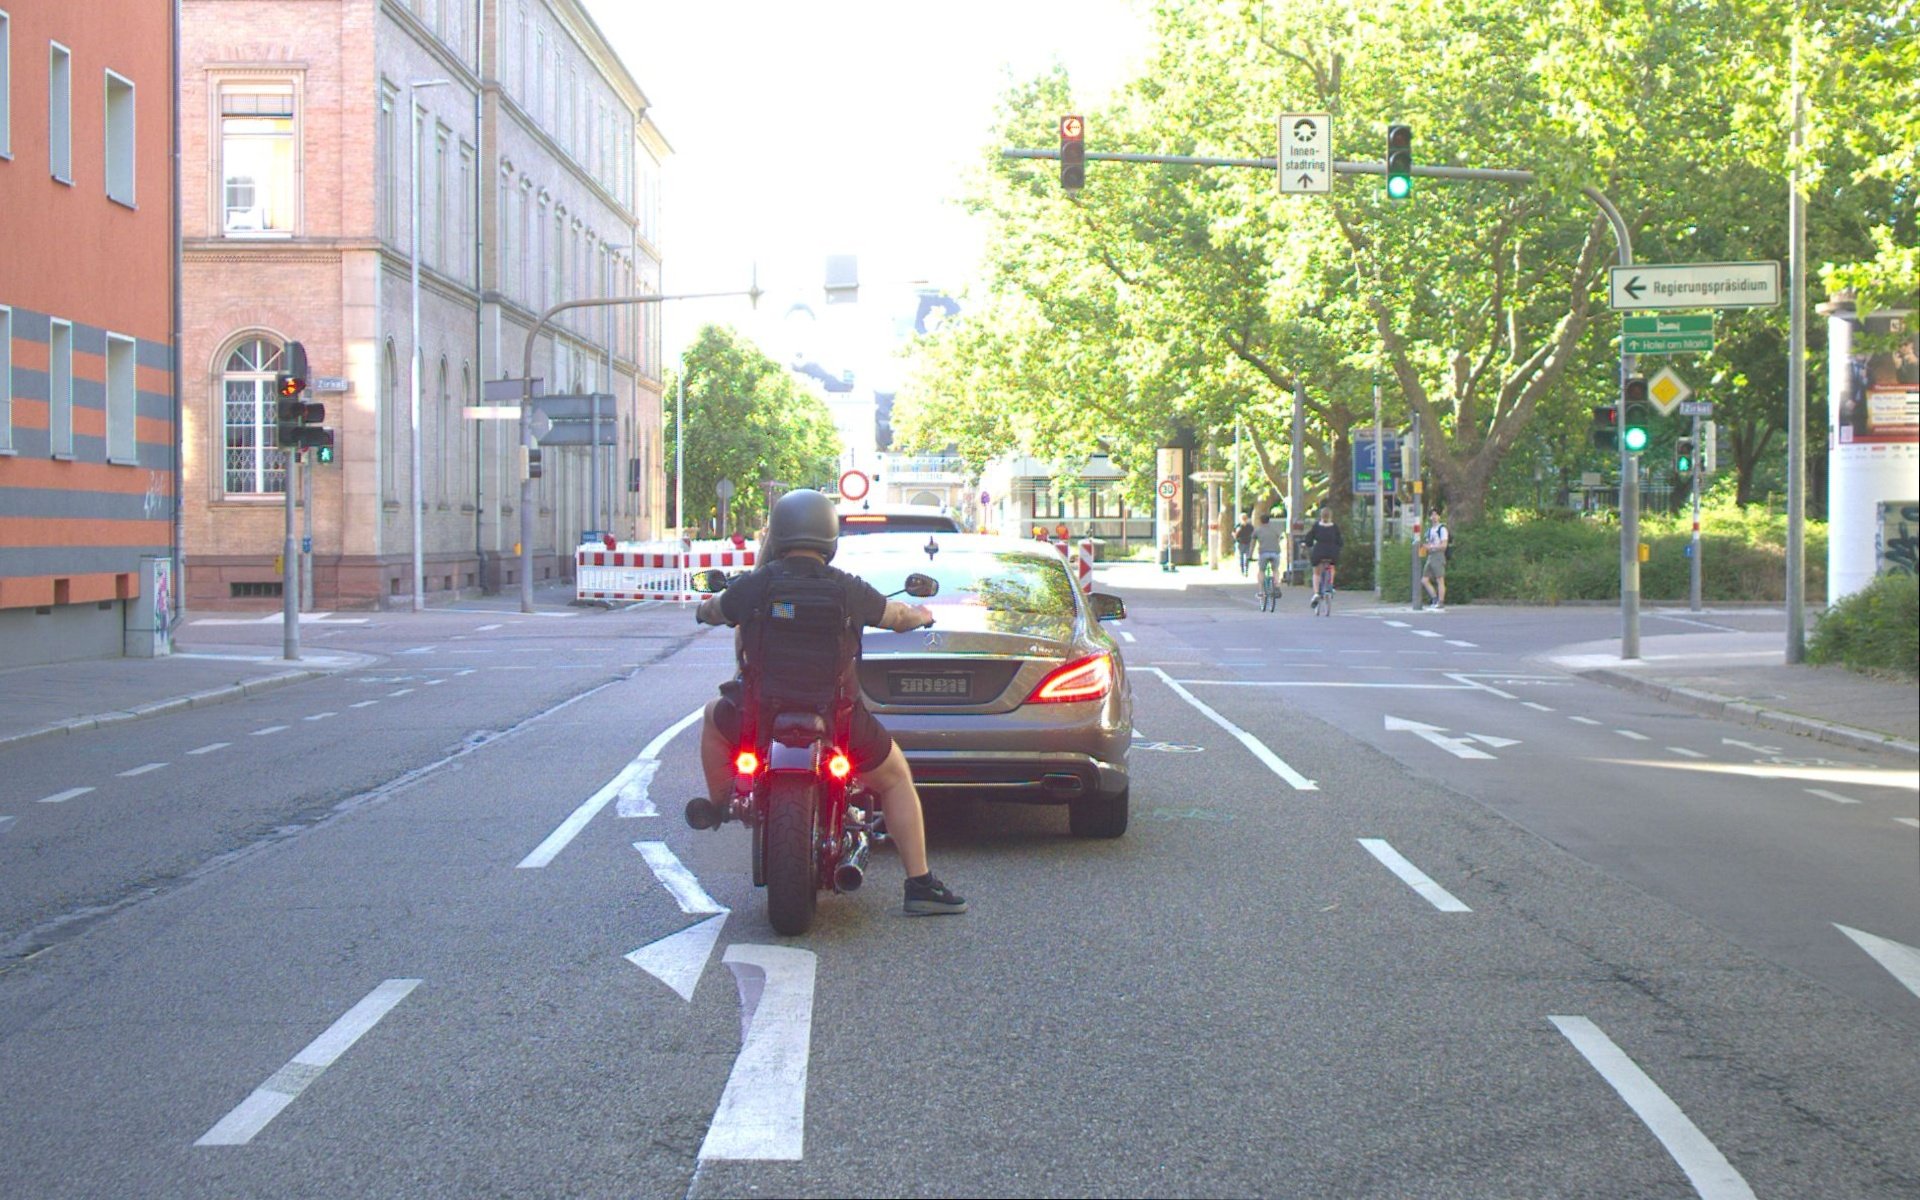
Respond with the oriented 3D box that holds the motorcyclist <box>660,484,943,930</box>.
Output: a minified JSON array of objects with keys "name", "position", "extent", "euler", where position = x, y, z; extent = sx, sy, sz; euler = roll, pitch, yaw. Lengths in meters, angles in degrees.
[{"name":"motorcyclist","position":[-0.575,0.367,13.009],"extent":[1.012,1.596,1.406],"euler":[0,1,-1]}]

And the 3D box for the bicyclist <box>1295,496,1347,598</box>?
[{"name":"bicyclist","position":[5.514,-0.805,52.513],"extent":[0.656,1.525,0.852],"euler":[2,1,-1]}]

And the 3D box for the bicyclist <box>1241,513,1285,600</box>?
[{"name":"bicyclist","position":[5.431,-0.777,61.650],"extent":[0.656,1.525,0.906],"euler":[2,1,-1]}]

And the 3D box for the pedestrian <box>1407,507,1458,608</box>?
[{"name":"pedestrian","position":[8.356,-0.750,60.755],"extent":[0.570,1.768,0.625],"euler":[1,1,-34]}]

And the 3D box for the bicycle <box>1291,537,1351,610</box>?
[{"name":"bicycle","position":[5.506,-0.414,52.512],"extent":[0.656,1.066,1.927],"euler":[2,1,-1]}]

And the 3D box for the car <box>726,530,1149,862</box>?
[{"name":"car","position":[-0.121,0.381,16.897],"extent":[1.828,1.415,3.815],"euler":[1,1,-1]}]

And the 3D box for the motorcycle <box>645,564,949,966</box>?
[{"name":"motorcycle","position":[-0.557,0.538,12.812],"extent":[1.012,1.302,2.673],"euler":[0,1,-1]}]

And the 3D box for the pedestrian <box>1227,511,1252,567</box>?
[{"name":"pedestrian","position":[7.861,-1.713,96.699],"extent":[0.592,1.573,0.527],"euler":[2,1,0]}]

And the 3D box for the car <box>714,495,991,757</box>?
[{"name":"car","position":[-0.828,0.134,24.115],"extent":[1.630,1.645,3.851],"euler":[2,1,-6]}]

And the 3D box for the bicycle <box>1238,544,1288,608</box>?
[{"name":"bicycle","position":[5.422,-0.436,61.617],"extent":[0.656,1.107,2.186],"euler":[2,1,-1]}]
